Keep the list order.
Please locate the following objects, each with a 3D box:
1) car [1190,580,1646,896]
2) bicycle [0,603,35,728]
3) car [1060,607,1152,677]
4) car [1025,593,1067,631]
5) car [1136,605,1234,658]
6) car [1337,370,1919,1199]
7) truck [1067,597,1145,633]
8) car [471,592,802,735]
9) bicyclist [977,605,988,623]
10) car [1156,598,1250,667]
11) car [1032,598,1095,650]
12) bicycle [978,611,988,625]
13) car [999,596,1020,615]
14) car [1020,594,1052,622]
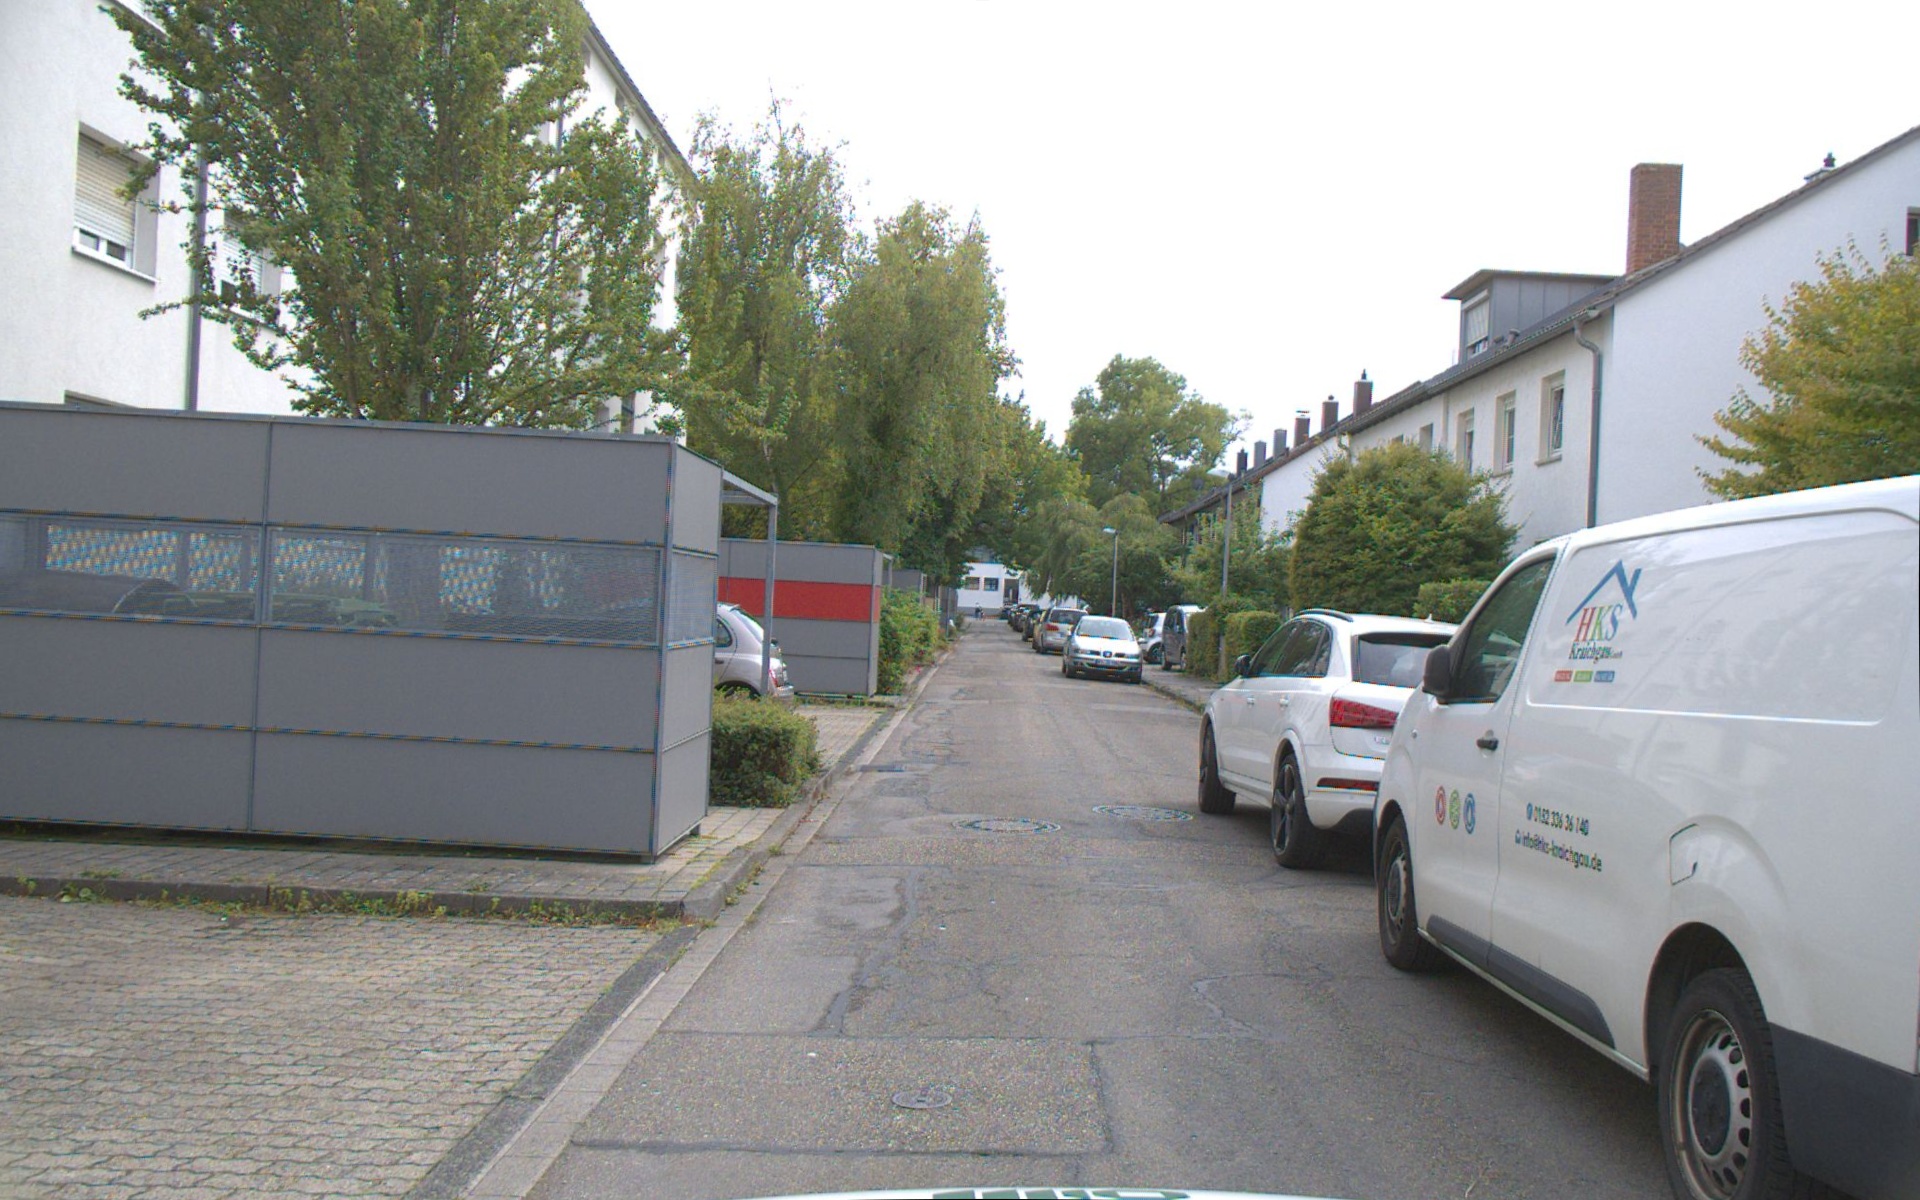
[{"bbox_3d":[2.879,0.778,11.401,1.788,1.664,4.160,4,0,-2],"label":"car"},{"bbox_3d":[-8.757,0.533,13.740,1.794,1.044,0.472,3,0,-40],"label":"bicycle"},{"bbox_3d":[3.371,0.945,38.836,1.788,1.394,4.331,4,0,2],"label":"car"},{"bbox_3d":[4.007,0.550,77.618,1.788,1.608,4.193,4,0,2],"label":"car"},{"bbox_3d":[6.931,0.959,51.127,2.759,1.596,1.740,0,0,-2],"label":"car"},{"bbox_3d":[2.846,0.594,5.593,1.865,1.998,5.253,4,0,0],"label":"car"},{"bbox_3d":[8.434,0.860,95.782,4.300,2.049,2.000,1,0,0],"label":"truck"},{"bbox_3d":[-3.629,0.699,19.036,3.491,1.506,1.709,1,0,-4],"label":"car"},{"bbox_3d":[1.964,1.186,142.210,0.782,1.537,0.934,4,0,3],"label":"bicyclist"},{"bbox_3d":[6.629,0.861,45.530,1.788,1.808,4.338,0,-1,-3],"label":"car"},{"bbox_3d":[3.560,0.797,57.435,1.788,1.608,4.000,4,0,0],"label":"car"},{"bbox_3d":[2.011,1.520,142.137,0.674,1.151,2.580,4,0,3],"label":"bicycle"},{"bbox_3d":[4.635,0.519,155.203,1.788,1.608,4.001,4,0,2],"label":"car"},{"bbox_3d":[4.719,0.490,102.653,1.788,1.608,4.001,4,0,2],"label":"car"}]
